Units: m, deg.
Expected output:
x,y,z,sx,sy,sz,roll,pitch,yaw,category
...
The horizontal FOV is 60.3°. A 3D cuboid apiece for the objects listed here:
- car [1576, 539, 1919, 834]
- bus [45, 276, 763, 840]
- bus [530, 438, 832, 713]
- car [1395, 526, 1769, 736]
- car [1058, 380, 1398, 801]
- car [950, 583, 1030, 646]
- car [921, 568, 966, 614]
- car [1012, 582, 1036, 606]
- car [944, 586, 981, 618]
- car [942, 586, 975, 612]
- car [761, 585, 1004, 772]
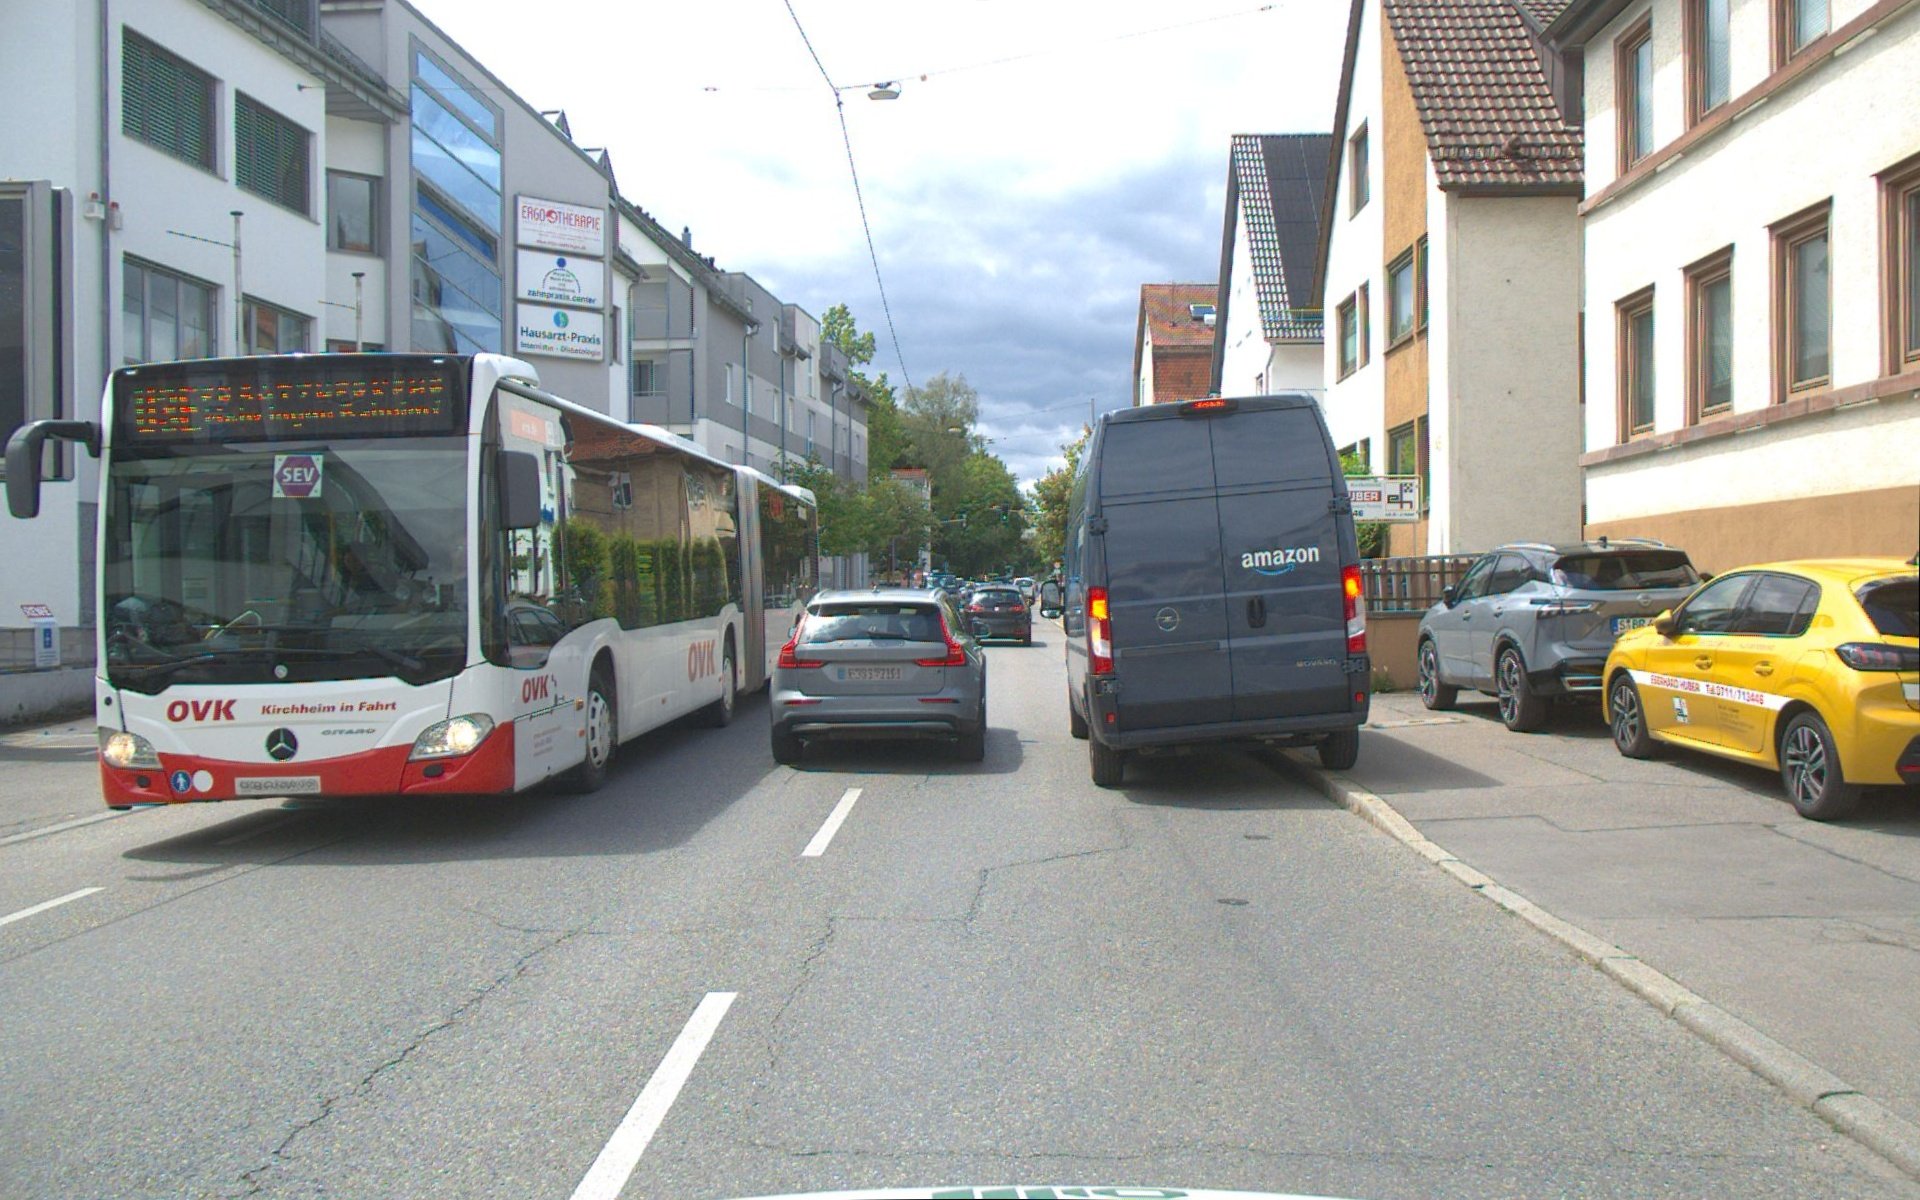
x,y,z,sx,sy,sz,roll,pitch,yaw,category
5.809,0.378,10.915,1.839,1.472,4.308,-1,3,-1,car
-3.831,-0.286,14.678,2.626,3.219,10.187,-1,0,2,bus
-3.623,-0.327,23.660,2.659,3.219,8.071,-1,0,2,bus
5.649,0.218,15.706,1.822,1.640,4.586,-2,1,0,car
1.989,-0.089,14.080,2.205,2.844,5.571,-1,0,3,car
0.802,0.318,41.014,1.857,1.471,3.970,0,1,3,car
-0.792,-0.479,83.560,2.062,2.158,4.766,-3,0,1,car
5.449,-0.515,139.749,1.952,2.049,4.002,-1,0,3,car
0.175,0.077,95.394,2.062,1.739,4.766,-1,1,1,car
-0.063,-0.082,107.067,2.062,1.624,4.650,-1,1,1,car
-0.572,0.616,15.268,1.857,1.479,3.970,0,1,3,car
